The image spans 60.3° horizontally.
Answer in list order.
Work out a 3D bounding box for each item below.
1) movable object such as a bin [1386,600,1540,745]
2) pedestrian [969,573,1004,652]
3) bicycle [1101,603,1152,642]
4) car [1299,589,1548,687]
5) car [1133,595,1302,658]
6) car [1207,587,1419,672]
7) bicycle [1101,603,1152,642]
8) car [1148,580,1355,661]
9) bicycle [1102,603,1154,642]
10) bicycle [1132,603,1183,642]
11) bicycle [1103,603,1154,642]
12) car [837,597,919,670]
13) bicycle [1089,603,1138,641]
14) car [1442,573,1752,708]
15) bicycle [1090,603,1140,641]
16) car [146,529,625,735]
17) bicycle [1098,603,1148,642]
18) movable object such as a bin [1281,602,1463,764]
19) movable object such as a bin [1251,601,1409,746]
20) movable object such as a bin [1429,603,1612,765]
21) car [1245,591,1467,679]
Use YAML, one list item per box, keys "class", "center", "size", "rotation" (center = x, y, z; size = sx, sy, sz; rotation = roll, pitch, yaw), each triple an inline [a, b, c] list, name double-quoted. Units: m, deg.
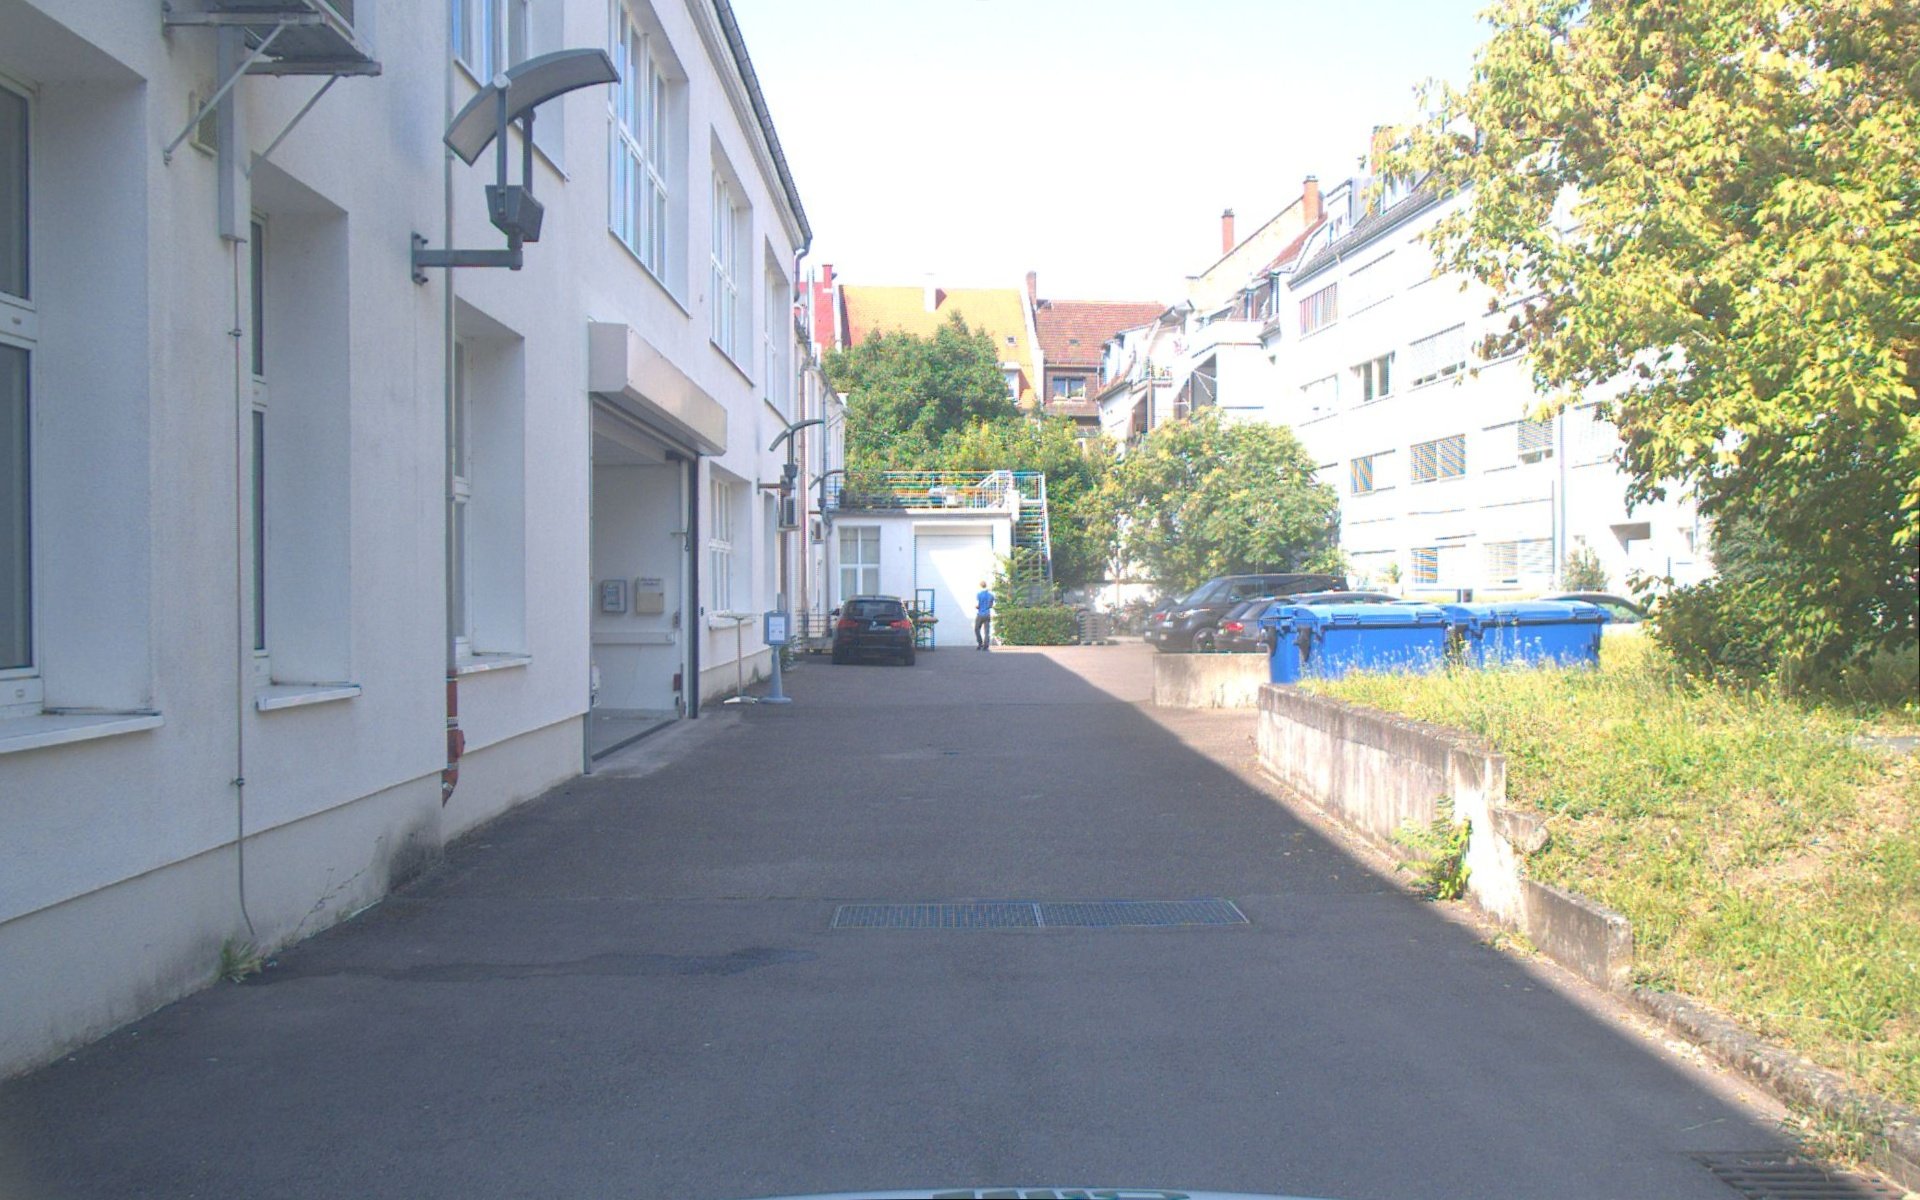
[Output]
- class: "movable object such as a bin"
  center: [4.906, 0.694, 16.227]
  size: [1.209, 1.364, 1.117]
  rotation: [0, -1, 3]
- class: "pedestrian"
  center: [0.702, 0.323, 43.614]
  size: [0.895, 2.049, 0.934]
  rotation: [0, -1, 0]
- class: "bicycle"
  center: [5.351, 0.718, 53.050]
  size: [1.589, 1.235, 0.327]
  rotation: [-1, 0, 1]
- class: "car"
  center: [7.982, 0.653, 28.667]
  size: [3.730, 1.617, 1.893]
  rotation: [0, -1, -10]
- class: "car"
  center: [6.464, 0.669, 41.758]
  size: [3.860, 1.508, 1.770]
  rotation: [0, -1, -10]
- class: "car"
  center: [7.364, 0.614, 34.682]
  size: [4.035, 1.721, 1.770]
  rotation: [0, -1, -4]
- class: "bicycle"
  center: [5.382, 0.722, 53.501]
  size: [1.588, 1.235, 0.327]
  rotation: [-1, 0, 9]
- class: "car"
  center: [6.817, 0.481, 38.880]
  size: [4.418, 1.826, 1.878]
  rotation: [0, -1, -10]
- class: "bicycle"
  center: [5.320, 0.712, 52.434]
  size: [1.589, 1.235, 0.327]
  rotation: [-1, 0, 1]
- class: "bicycle"
  center: [6.367, 0.727, 53.414]
  size: [1.588, 1.235, 0.327]
  rotation: [-1, 0, 14]
- class: "bicycle"
  center: [5.382, 0.715, 52.756]
  size: [1.589, 1.235, 0.327]
  rotation: [-1, 0, 1]
- class: "car"
  center: [-1.745, 0.697, 35.623]
  size: [1.654, 1.484, 3.921]
  rotation: [0, -1, -2]
- class: "bicycle"
  center: [5.178, 0.743, 55.776]
  size: [1.591, 1.235, 0.423]
  rotation: [-1, 0, -6]
- class: "car"
  center: [8.822, 0.549, 23.121]
  size: [3.547, 1.571, 1.802]
  rotation: [-4, 0, -3]
- class: "bicycle"
  center: [5.112, 0.731, 54.539]
  size: [1.590, 1.235, 0.424]
  rotation: [-1, 0, -1]
- class: "car"
  center: [-6.337, 0.355, 18.686]
  size: [4.650, 2.129, 2.055]
  rotation: [1, -1, -1]
- class: "bicycle"
  center: [5.302, 0.725, 53.864]
  size: [1.588, 1.235, 0.327]
  rotation: [-1, 0, 12]
- class: "movable object such as a bin"
  center: [3.586, 0.706, 14.498]
  size: [1.283, 1.364, 1.099]
  rotation: [0, -1, -4]
- class: "movable object such as a bin"
  center: [3.607, 0.704, 16.251]
  size: [1.274, 1.364, 1.194]
  rotation: [0, -1, -1]
- class: "movable object such as a bin"
  center: [4.890, 0.713, 14.509]
  size: [1.202, 1.364, 1.075]
  rotation: [0, -1, -5]
- class: "car"
  center: [7.579, 0.670, 31.865]
  size: [3.787, 1.617, 1.877]
  rotation: [0, -1, -6]
